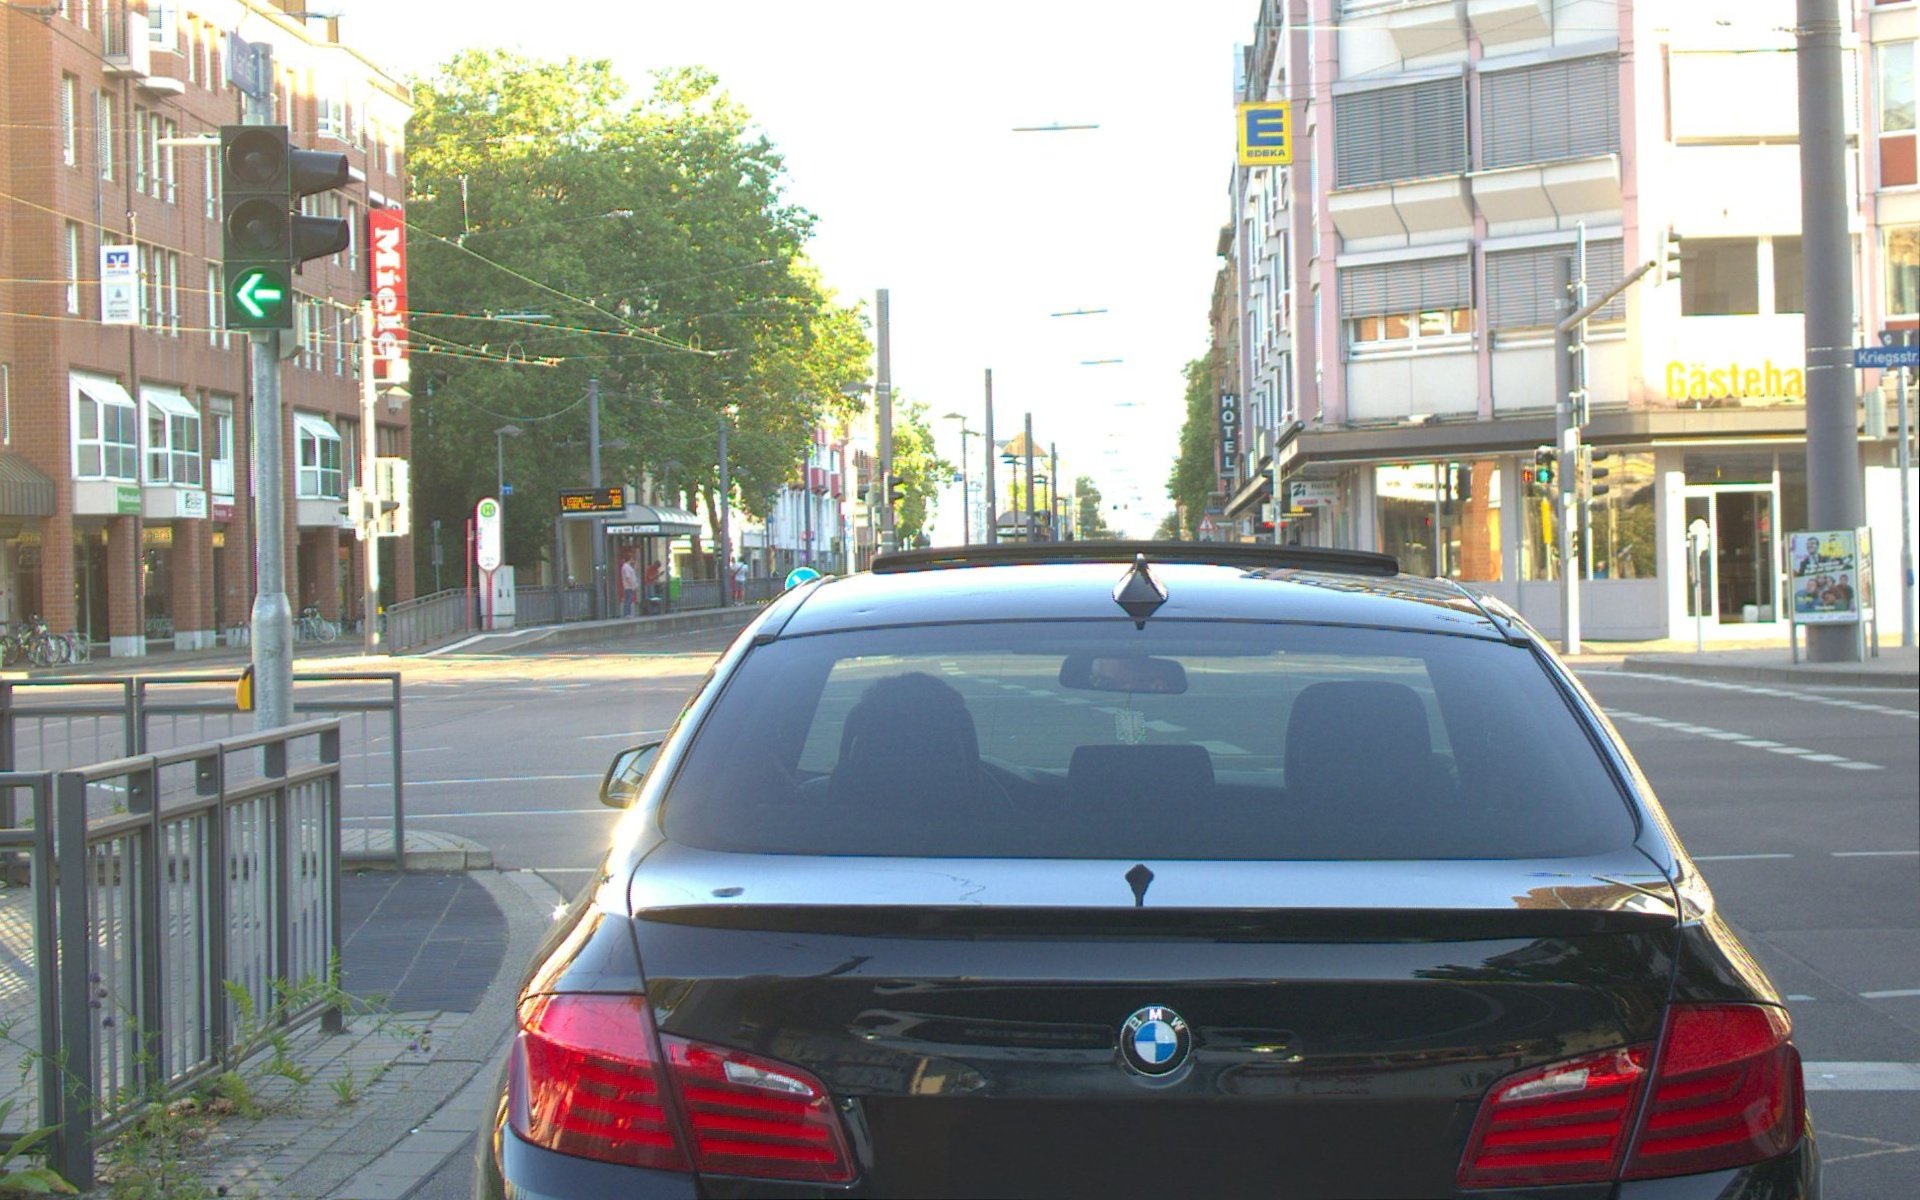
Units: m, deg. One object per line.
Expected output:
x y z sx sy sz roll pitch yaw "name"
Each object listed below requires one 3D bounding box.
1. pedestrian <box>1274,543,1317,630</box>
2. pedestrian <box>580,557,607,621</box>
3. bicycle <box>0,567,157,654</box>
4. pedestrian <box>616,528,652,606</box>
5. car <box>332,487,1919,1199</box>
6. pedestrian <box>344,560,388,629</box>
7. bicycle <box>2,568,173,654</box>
6.231 -0.256 63.921 0.705 1.543 0.907 0 4 0 "pedestrian"
-9.516 -0.296 89.367 0.584 1.651 0.678 -2 1 0 "pedestrian"
-18.571 0.220 71.773 3.297 1.720 1.069 -1 1 3 "bicycle"
-8.442 -0.852 89.073 0.808 2.007 0.678 -1 1 0 "pedestrian"
0.227 0.606 5.815 1.841 1.490 4.292 1 1 -1 "car"
-17.557 -0.161 101.593 1.085 2.007 1.084 -1 1 -1 "pedestrian"
-18.499 0.230 72.941 3.297 1.720 1.069 -1 1 2 "bicycle"
